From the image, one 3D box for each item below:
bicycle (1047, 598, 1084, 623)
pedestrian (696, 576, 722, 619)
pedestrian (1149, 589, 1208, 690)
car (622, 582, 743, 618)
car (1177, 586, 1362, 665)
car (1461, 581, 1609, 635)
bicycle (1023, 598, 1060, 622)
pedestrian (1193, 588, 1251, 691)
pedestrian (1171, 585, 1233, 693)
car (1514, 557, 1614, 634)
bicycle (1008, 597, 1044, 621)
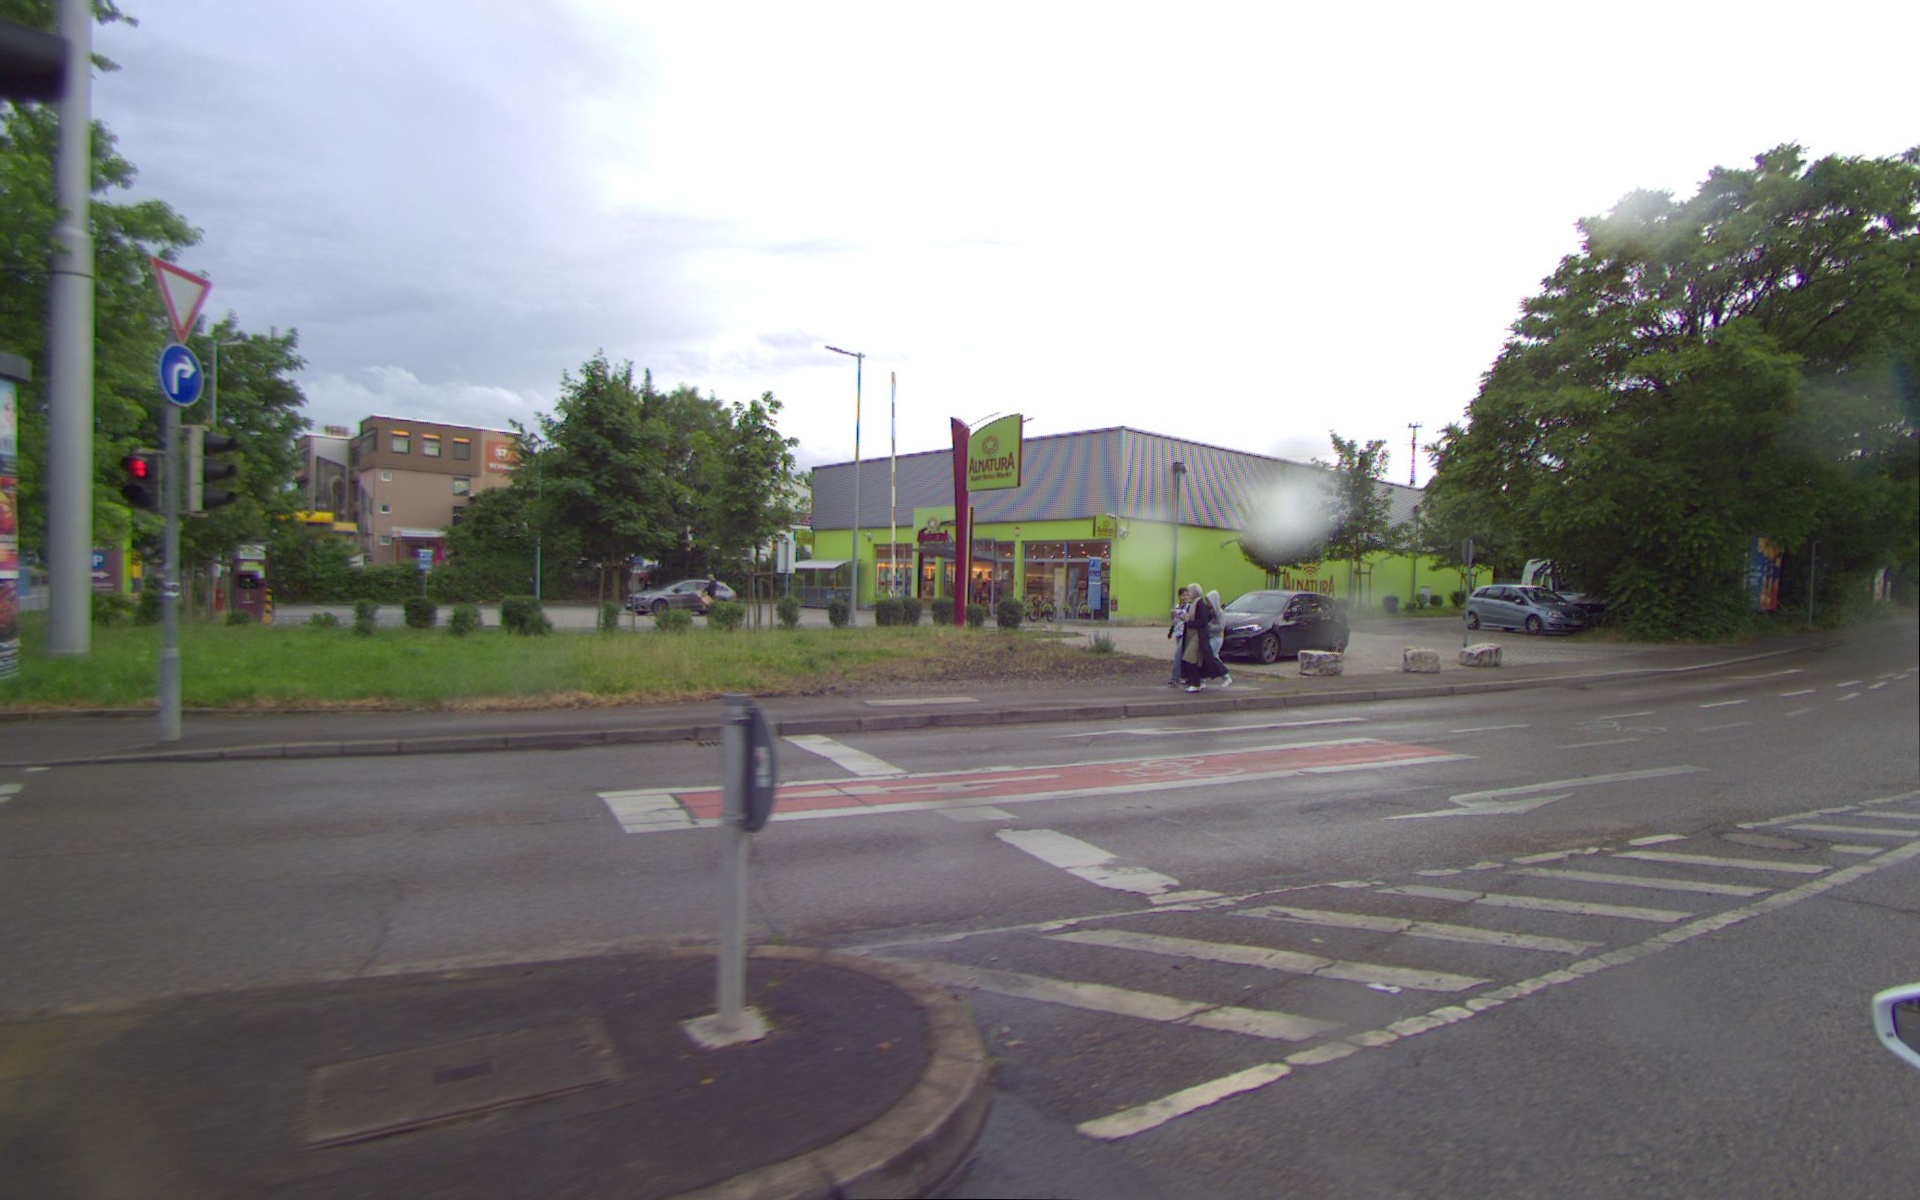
[{"bbox_3d":[4.258,0.419,40.367,1.602,0.995,0.528,0,1,-41],"label":"bicycle"},{"bbox_3d":[-9.773,-0.109,39.090,0.795,1.619,0.752,-1,3,-31],"label":"pedestrian"},{"bbox_3d":[3.640,0.644,16.758,0.669,1.624,0.653,-1,3,-26],"label":"pedestrian"},{"bbox_3d":[-11.048,-0.017,40.156,4.342,1.363,1.755,0,1,-40],"label":"car"},{"bbox_3d":[6.686,0.473,21.483,4.198,1.468,1.732,0,3,-39],"label":"car"},{"bbox_3d":[19.018,0.205,33.465,1.966,1.564,4.114,0,3,-14],"label":"car"},{"bbox_3d":[3.354,0.403,41.293,1.602,0.995,0.528,0,1,-41],"label":"bicycle"},{"bbox_3d":[4.264,0.625,16.371,0.669,1.624,0.603,-1,3,-26],"label":"pedestrian"},{"bbox_3d":[3.786,0.586,15.740,0.669,1.624,0.653,-1,3,-26],"label":"pedestrian"},{"bbox_3d":[21.942,-0.278,36.726,2.072,2.567,5.603,1,3,21],"label":"car"},{"bbox_3d":[2.774,0.365,42.041,1.602,0.995,0.528,0,1,-41],"label":"bicycle"}]
